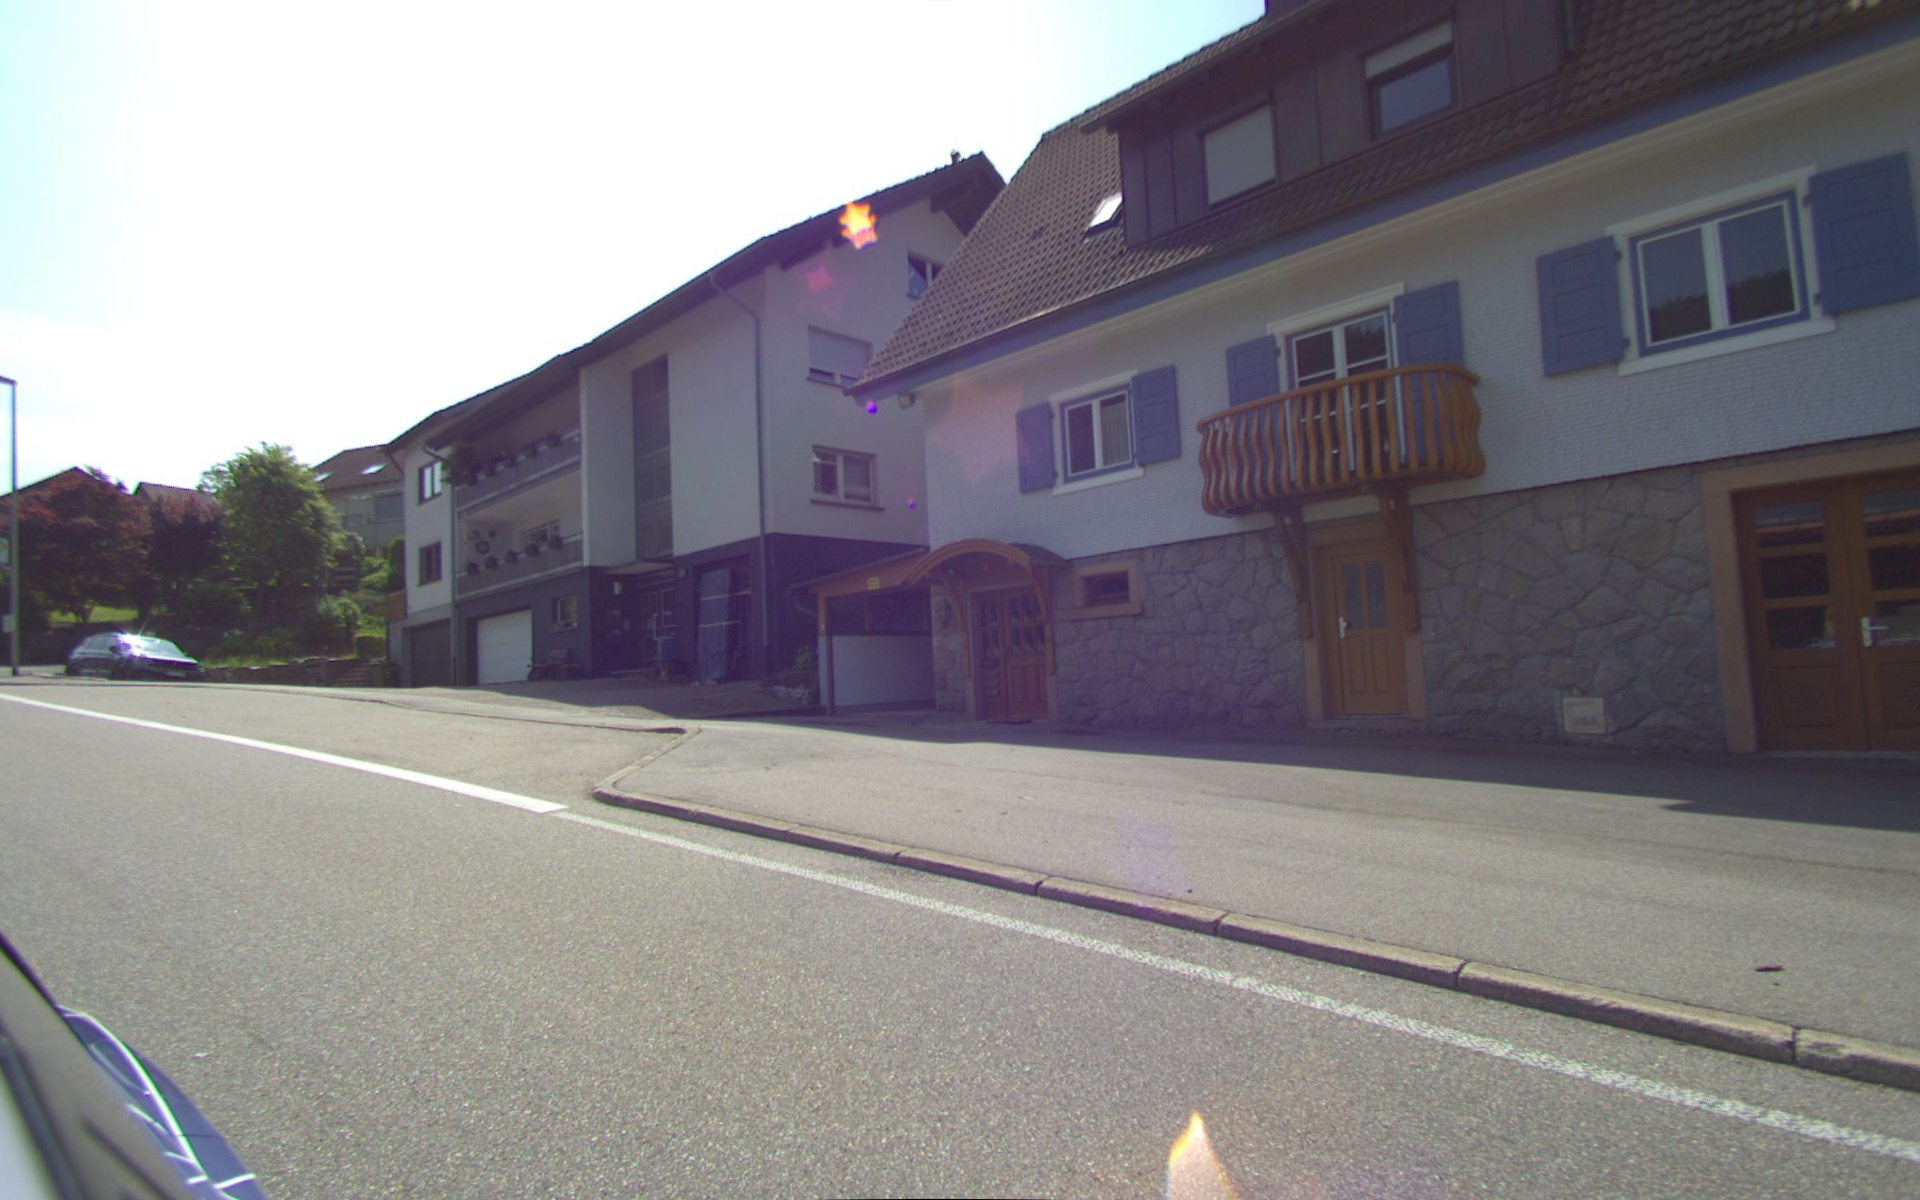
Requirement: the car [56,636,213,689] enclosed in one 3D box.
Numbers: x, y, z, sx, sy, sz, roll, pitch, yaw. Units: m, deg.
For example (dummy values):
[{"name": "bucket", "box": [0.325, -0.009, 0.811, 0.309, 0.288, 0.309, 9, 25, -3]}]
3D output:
[{"name": "car", "box": [-22.744, 1.682, 27.833, 4.676, 1.349, 1.770, -1, -3, 30]}]
